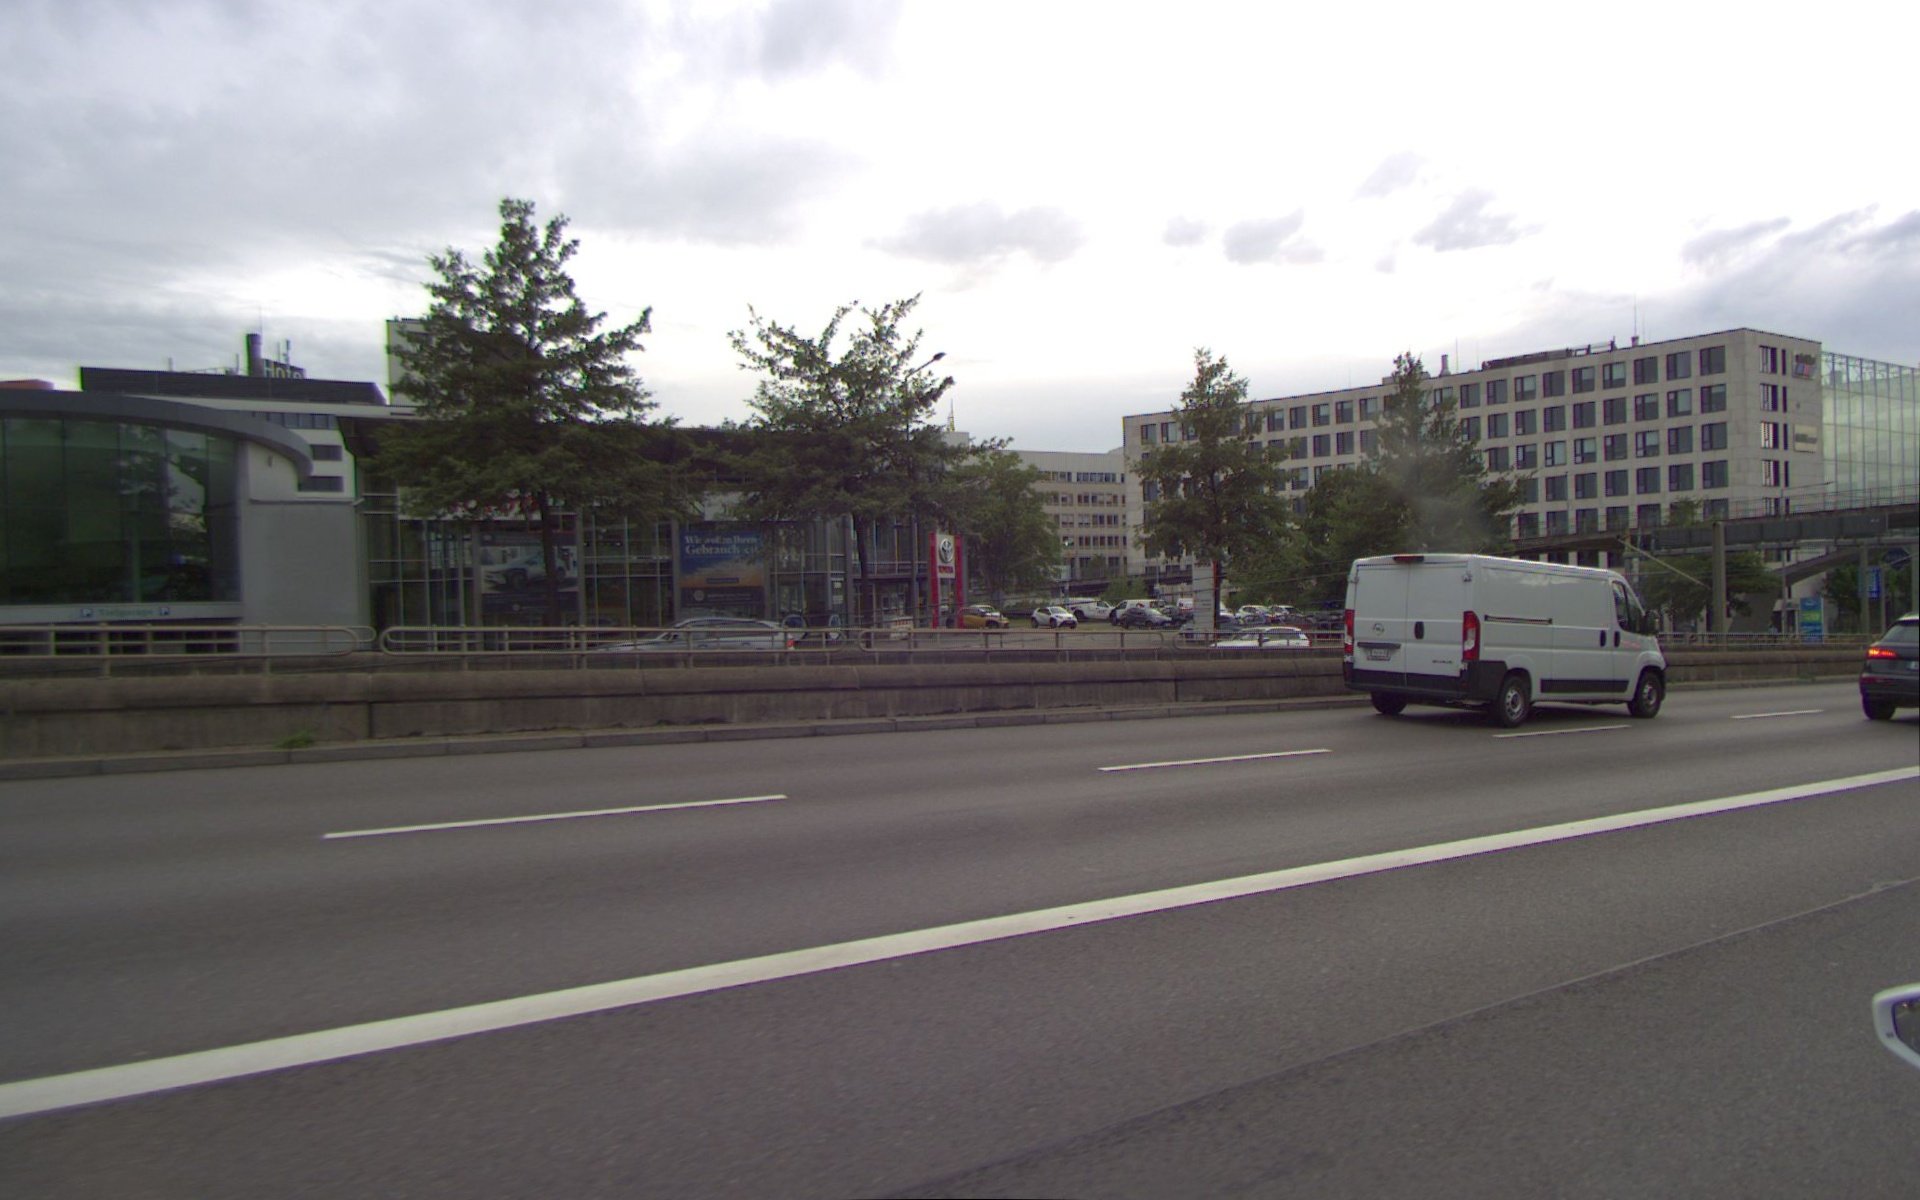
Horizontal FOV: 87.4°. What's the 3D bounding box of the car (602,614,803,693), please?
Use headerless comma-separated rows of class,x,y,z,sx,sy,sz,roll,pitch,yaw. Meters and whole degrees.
car,-5.725,1.171,22.396,3.954,1.606,1.984,2,-2,-31

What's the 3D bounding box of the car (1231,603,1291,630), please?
car,21.370,1.143,71.457,1.972,1.673,3.976,-2,2,-24

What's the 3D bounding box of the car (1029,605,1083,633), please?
car,6.461,1.274,68.148,1.972,1.673,3.976,-2,2,-24

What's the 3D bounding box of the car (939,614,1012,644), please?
car,0.923,1.696,59.623,3.920,1.673,2.000,-1,2,16

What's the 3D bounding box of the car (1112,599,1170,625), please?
car,13.067,0.853,72.739,1.977,1.673,3.966,-2,2,-31

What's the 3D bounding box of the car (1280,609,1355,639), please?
car,21.455,1.409,60.421,1.974,1.673,3.971,0,1,-27

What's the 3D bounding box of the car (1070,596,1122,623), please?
car,11.249,0.779,83.091,3.923,2.076,1.999,0,2,23

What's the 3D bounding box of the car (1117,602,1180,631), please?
car,12.402,1.055,66.344,1.977,1.673,3.966,-2,2,-31

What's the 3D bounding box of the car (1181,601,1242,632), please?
car,17.057,1.112,68.260,1.972,1.901,3.976,-2,2,-24

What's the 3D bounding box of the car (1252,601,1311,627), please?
car,23.360,1.010,73.059,1.972,1.673,3.976,-2,2,-24

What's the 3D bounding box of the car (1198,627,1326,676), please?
car,10.491,1.779,34.877,3.946,1.606,1.988,2,-2,-25

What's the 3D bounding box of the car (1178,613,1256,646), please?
car,14.595,1.631,57.066,3.929,1.673,1.996,1,1,31

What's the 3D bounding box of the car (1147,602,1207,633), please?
car,14.602,1.167,67.838,1.973,2.040,3.976,1,-1,-24

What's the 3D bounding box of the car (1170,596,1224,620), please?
car,18.073,0.611,76.731,1.801,1.673,3.964,-2,2,-33

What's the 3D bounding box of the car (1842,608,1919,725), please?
car,15.493,0.987,15.413,4.697,1.639,1.741,1,-1,-33

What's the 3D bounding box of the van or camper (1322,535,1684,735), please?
van or camper,8.055,0.480,14.739,5.467,2.471,2.193,1,-1,-31

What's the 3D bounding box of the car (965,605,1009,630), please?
car,2.068,1.338,78.133,1.971,1.673,3.978,-2,2,-22
